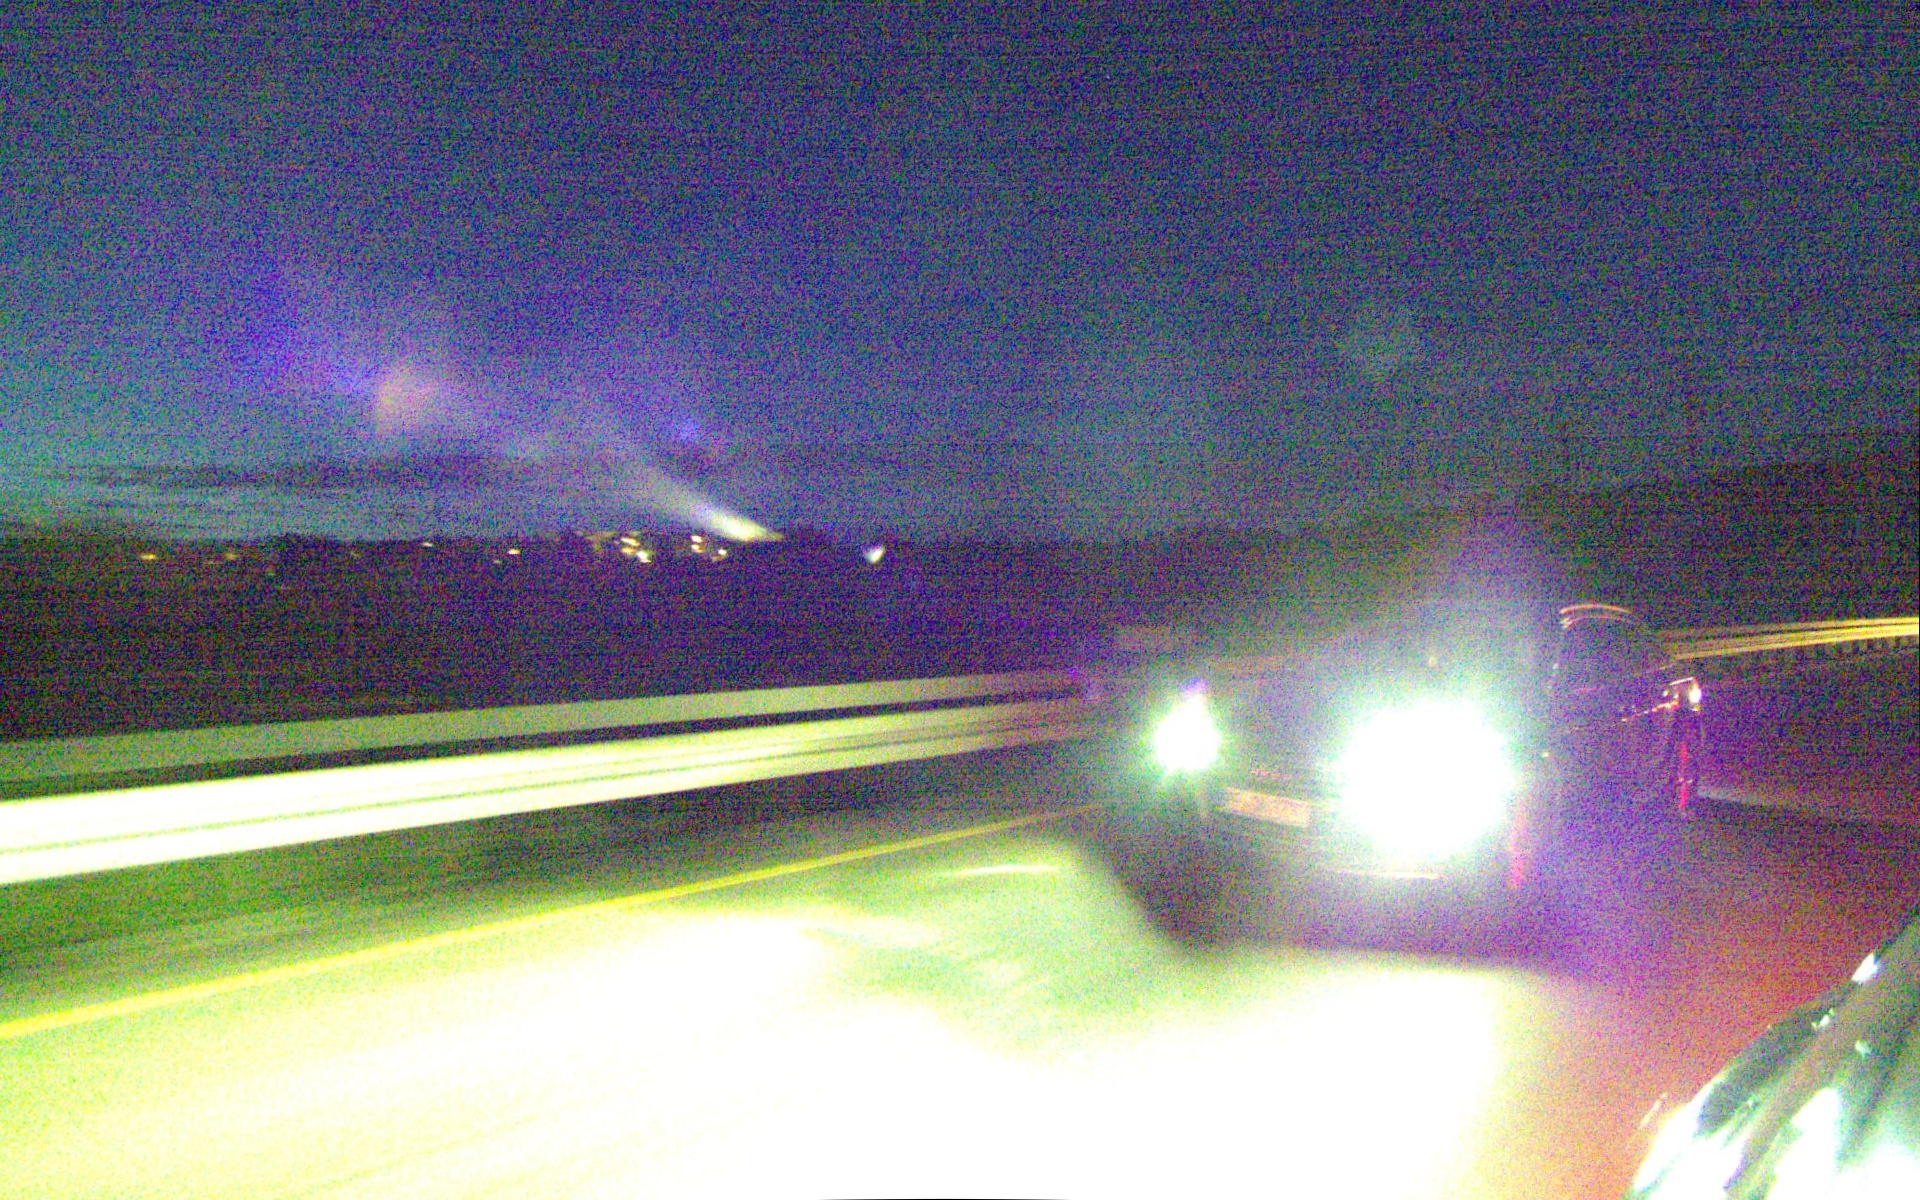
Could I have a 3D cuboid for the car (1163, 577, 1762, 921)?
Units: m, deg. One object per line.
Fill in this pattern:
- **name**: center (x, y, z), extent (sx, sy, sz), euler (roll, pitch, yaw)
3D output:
- **car**: center (3.554, 0.635, 6.629), extent (4.790, 1.444, 1.811), euler (0, 2, -41)
